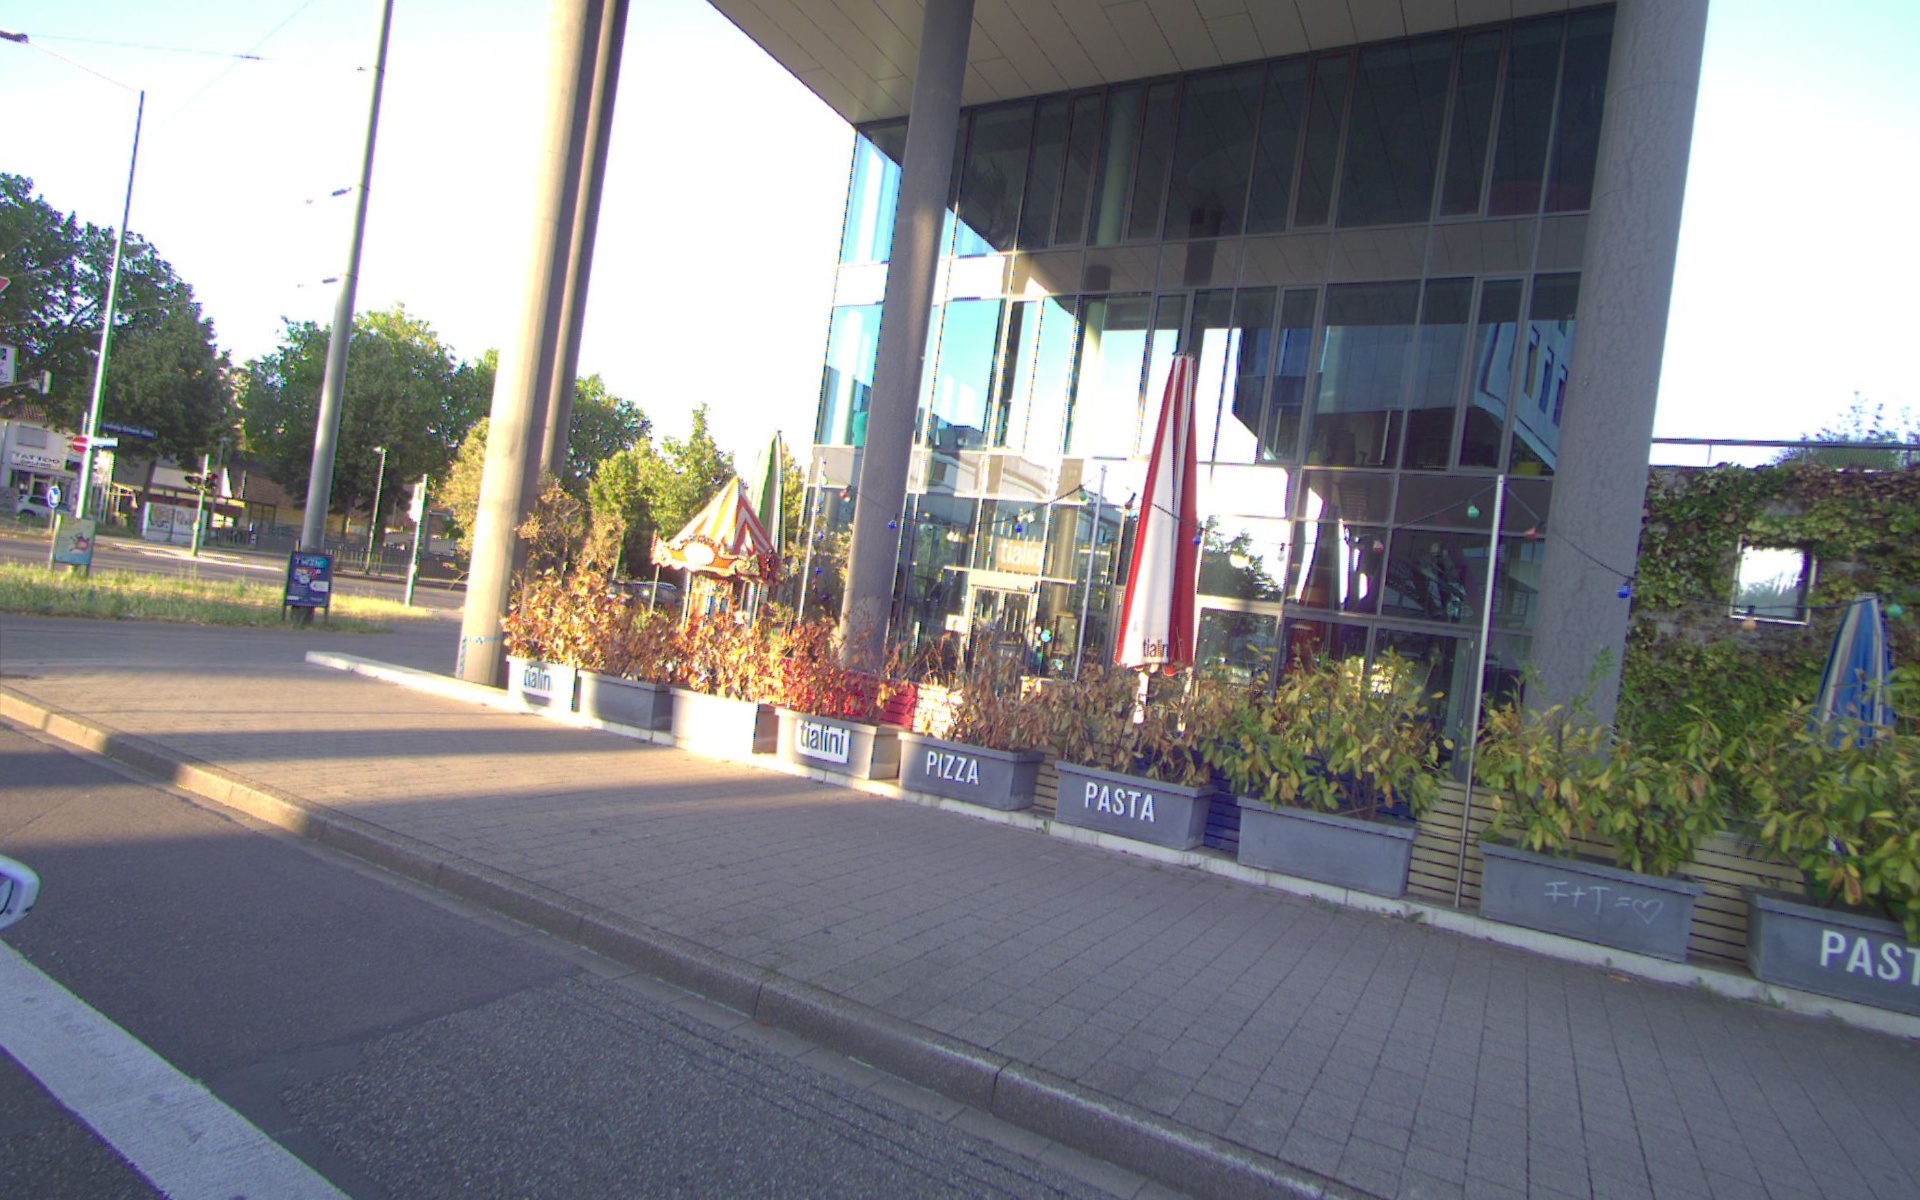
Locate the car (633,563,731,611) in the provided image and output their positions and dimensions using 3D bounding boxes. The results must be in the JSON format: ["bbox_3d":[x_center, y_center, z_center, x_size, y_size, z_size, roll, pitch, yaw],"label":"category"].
[{"bbox_3d":[-20.893,-0.951,76.107,2.765,2.666,6.931,6,-2,32],"label":"car"}]

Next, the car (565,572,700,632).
[{"bbox_3d":[-11.821,0.115,36.628,1.965,1.592,4.446,7,-2,28],"label":"car"}]

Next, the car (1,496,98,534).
[{"bbox_3d":[-50.445,-4.704,55.805,1.641,1.456,3.736,6,-2,41],"label":"car"}]

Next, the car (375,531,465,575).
[{"bbox_3d":[-42.617,-3.689,79.503,2.197,2.581,5.594,7,-2,39],"label":"car"}]
